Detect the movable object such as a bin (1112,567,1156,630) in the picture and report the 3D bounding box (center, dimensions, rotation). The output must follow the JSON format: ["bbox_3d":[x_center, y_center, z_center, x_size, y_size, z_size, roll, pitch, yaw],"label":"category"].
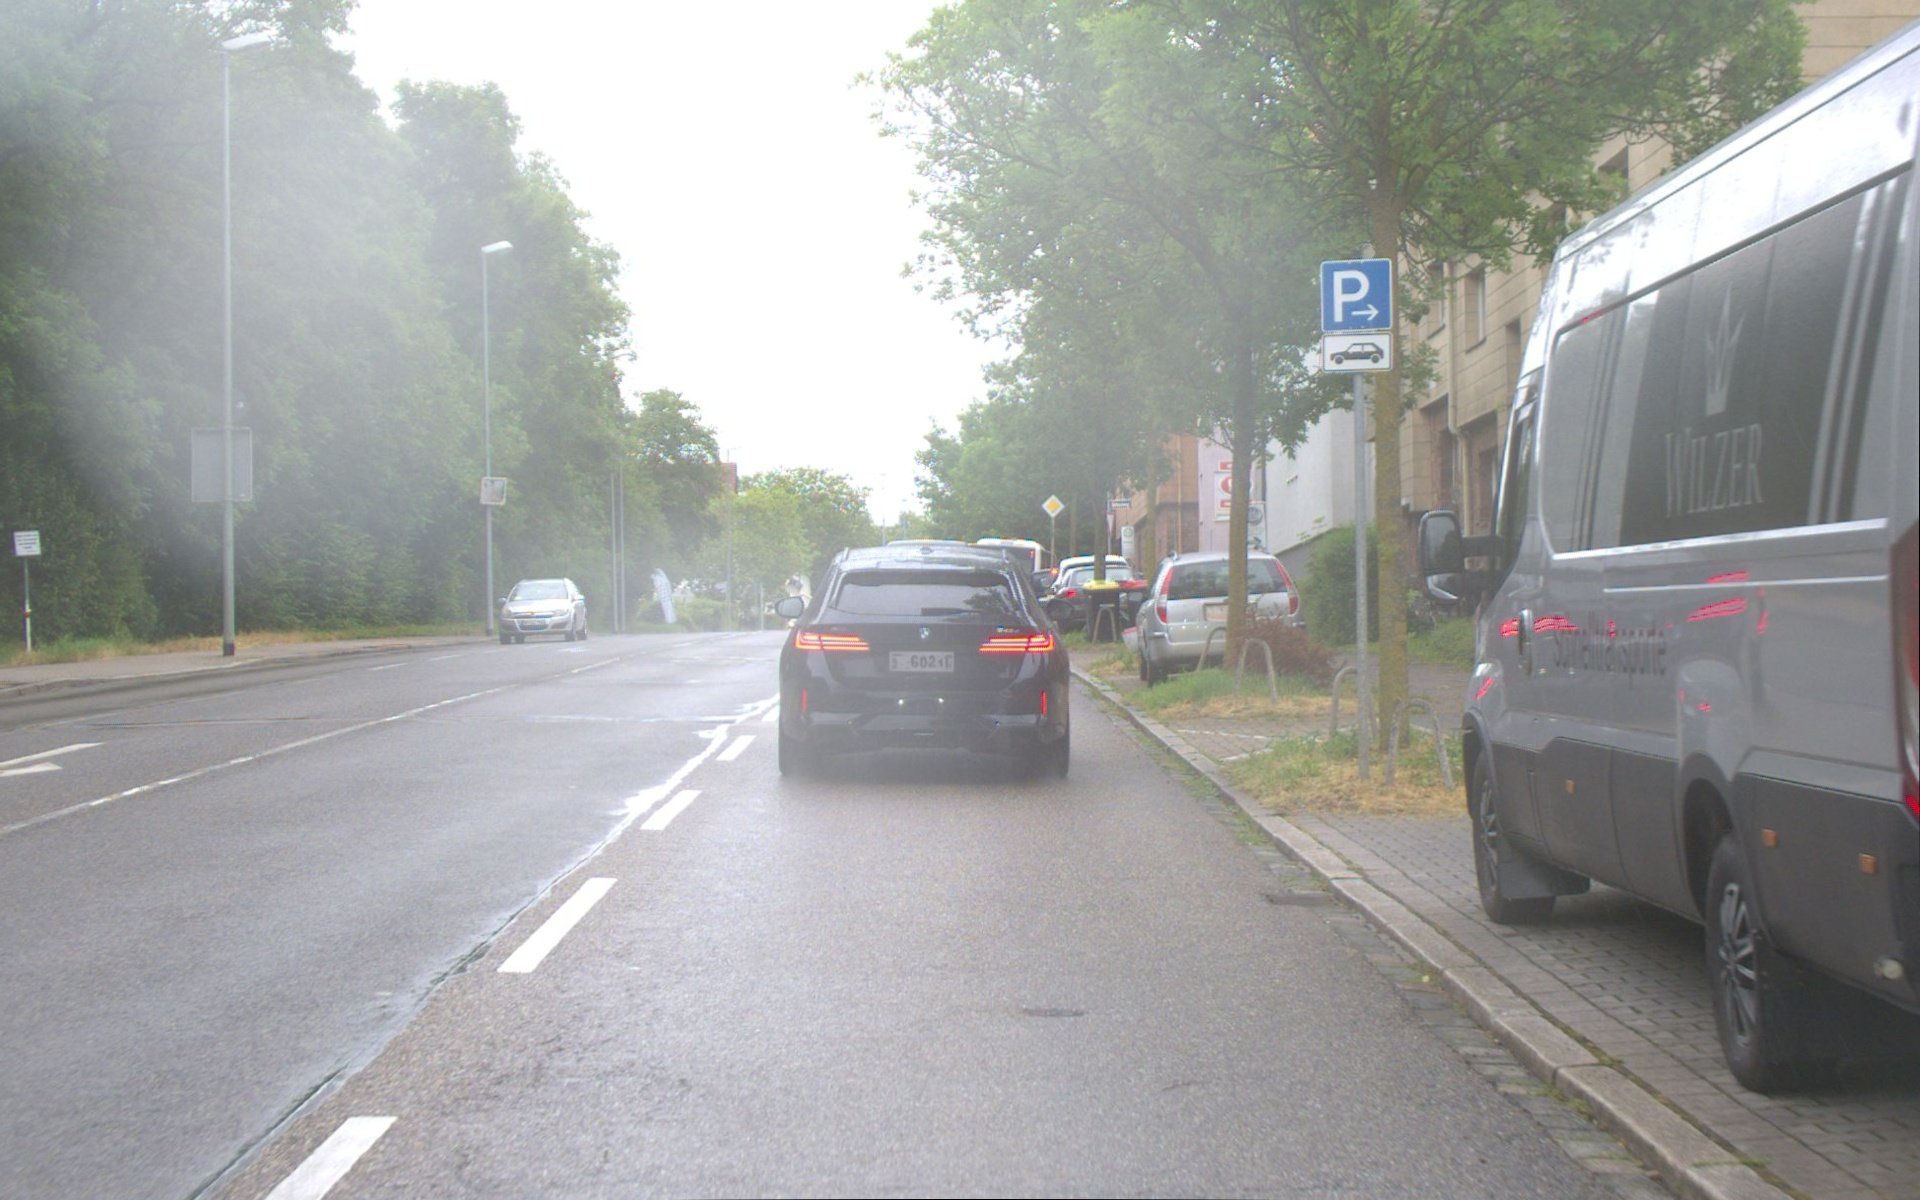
[{"bbox_3d":[3.017,-0.031,59.565,0.619,1.046,0.822,-3,1,-3],"label":"movable object such as a bin"}]

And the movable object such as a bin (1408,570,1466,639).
[{"bbox_3d":[6.910,0.061,49.820,0.700,0.962,0.941,1,1,0],"label":"movable object such as a bin"}]

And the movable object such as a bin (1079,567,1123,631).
[{"bbox_3d":[2.408,-0.021,58.661,0.619,1.046,0.822,-3,1,-3],"label":"movable object such as a bin"}]

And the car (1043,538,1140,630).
[{"bbox_3d":[2.654,-0.340,70.228,1.824,1.766,4.541,-1,1,1],"label":"car"}]

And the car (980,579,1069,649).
[{"bbox_3d":[1.935,0.417,101.262,1.927,1.886,4.759,-4,-1,8],"label":"car"}]

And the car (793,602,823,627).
[{"bbox_3d":[-10.011,0.977,226.215,1.770,1.528,4.000,-2,1,0],"label":"car"}]

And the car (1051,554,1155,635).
[{"bbox_3d":[2.645,-0.102,64.382,1.641,1.444,3.998,-1,0,-2],"label":"car"}]

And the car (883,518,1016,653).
[{"bbox_3d":[-0.156,-0.229,53.301,1.993,2.007,4.000,0,0,0],"label":"car"}]

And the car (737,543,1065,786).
[{"bbox_3d":[-0.397,0.385,23.432,1.993,1.448,4.000,2,0,-1],"label":"car"}]

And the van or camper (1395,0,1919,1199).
[{"bbox_3d":[2.967,-0.121,10.747,2.197,2.642,7.302,-2,1,0],"label":"van or camper"}]

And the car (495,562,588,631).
[{"bbox_3d":[-9.672,-0.085,79.690,1.689,1.478,4.452,-3,0,-2],"label":"car"}]

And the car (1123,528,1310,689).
[{"bbox_3d":[2.822,0.042,38.668,1.702,1.579,4.643,-4,1,1],"label":"car"}]

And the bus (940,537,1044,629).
[{"bbox_3d":[1.114,-0.589,112.857,2.623,2.838,8.287,-2,1,5],"label":"bus"}]

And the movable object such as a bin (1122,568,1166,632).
[{"bbox_3d":[3.139,-0.010,58.642,0.619,1.046,0.822,-3,1,-3],"label":"movable object such as a bin"}]

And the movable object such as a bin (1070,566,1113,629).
[{"bbox_3d":[2.278,-0.041,59.560,0.619,1.046,0.822,-3,1,-3],"label":"movable object such as a bin"}]
